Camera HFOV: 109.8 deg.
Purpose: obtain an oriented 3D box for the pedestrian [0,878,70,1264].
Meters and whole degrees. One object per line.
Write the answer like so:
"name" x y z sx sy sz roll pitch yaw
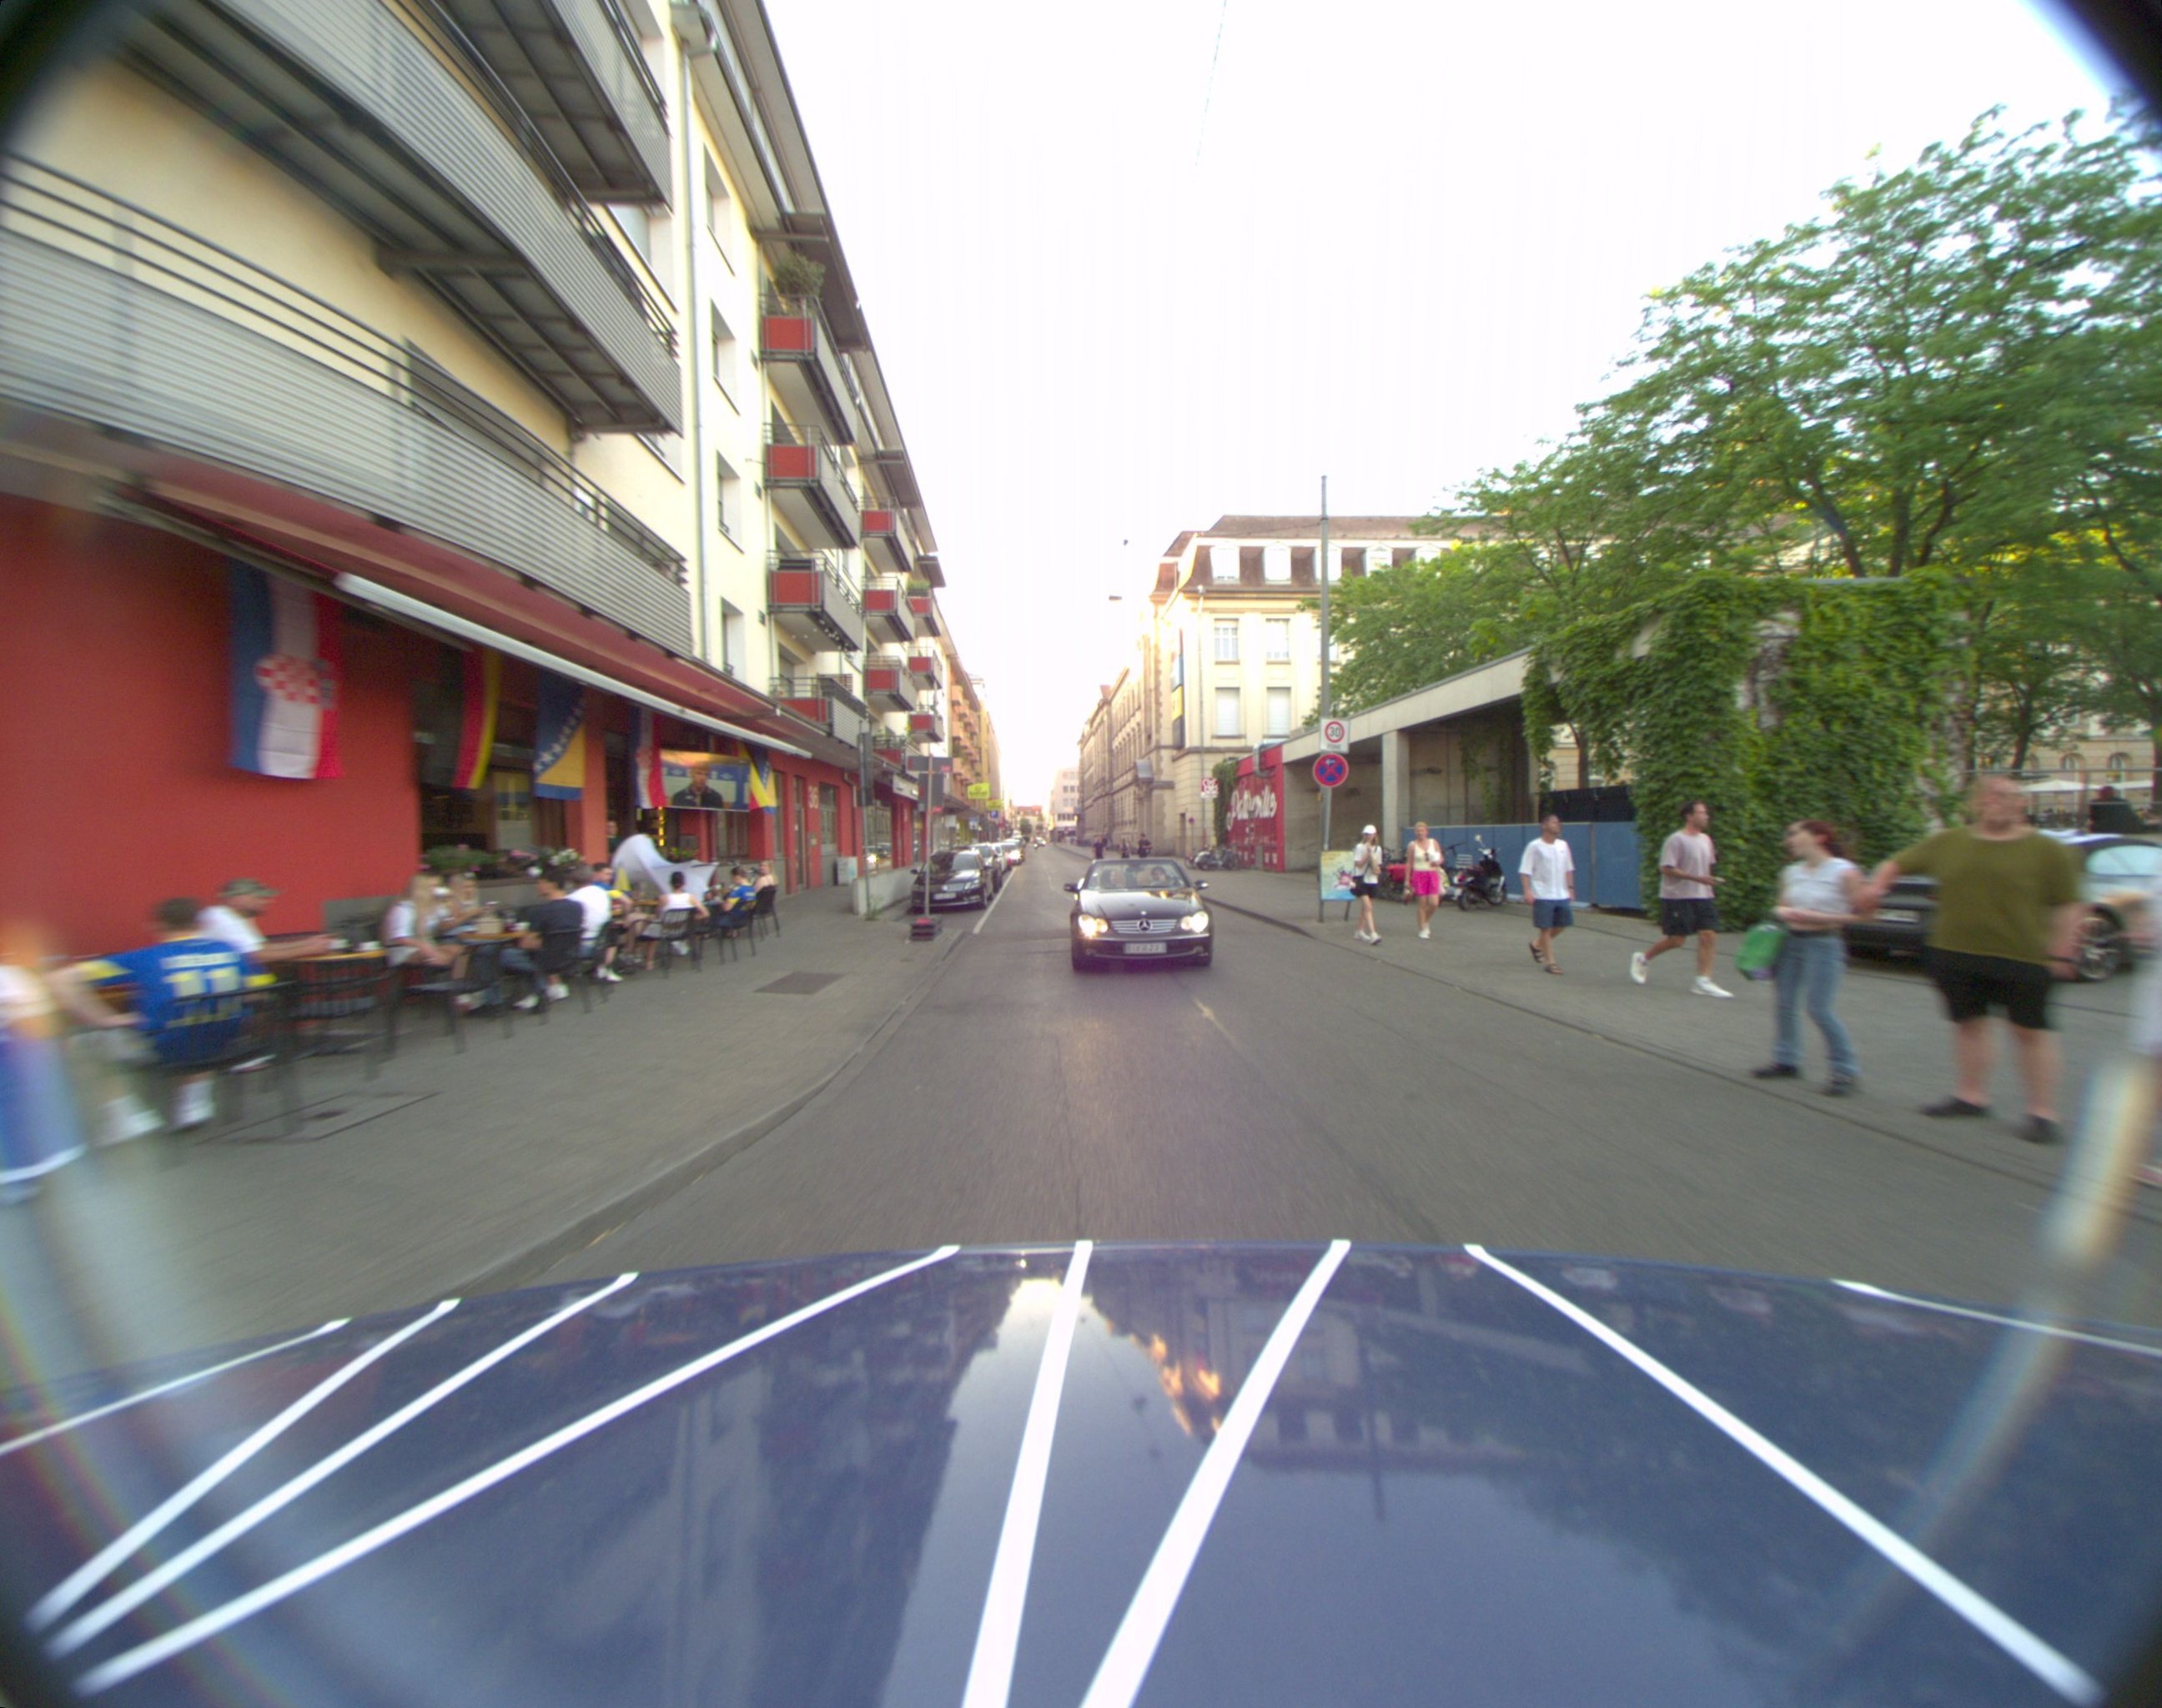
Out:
"pedestrian" -4.688 0.873 2.914 0.713 1.527 0.690 0 2 14

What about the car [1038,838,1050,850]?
"car" -6.642 -1.747 137.023 1.998 2.002 3.999 -2 2 1

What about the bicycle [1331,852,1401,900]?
"bicycle" 6.959 0.528 18.579 1.496 1.082 0.436 -3 2 3

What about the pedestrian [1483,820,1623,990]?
"pedestrian" 5.307 0.543 8.608 0.984 1.784 0.889 -3 2 -1

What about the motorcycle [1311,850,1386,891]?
"motorcycle" 7.241 0.452 20.591 1.824 1.063 0.534 -2 2 25

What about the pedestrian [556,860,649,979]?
"pedestrian" -6.052 0.810 9.642 0.714 1.413 0.602 -3 2 -4

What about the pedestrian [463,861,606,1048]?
"pedestrian" -4.765 0.843 6.679 0.714 1.527 0.759 2 1 -7

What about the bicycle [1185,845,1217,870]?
"bicycle" 5.940 0.158 37.596 1.501 1.134 0.312 -3 2 -12

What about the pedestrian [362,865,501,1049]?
"pedestrian" -5.708 0.871 6.717 0.675 1.527 0.654 1 1 -6

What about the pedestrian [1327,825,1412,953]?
"pedestrian" 4.244 0.488 11.241 0.851 1.784 0.868 -3 2 -1

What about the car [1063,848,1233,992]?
"car" 0.669 0.687 10.435 1.809 1.400 4.614 0 2 -1

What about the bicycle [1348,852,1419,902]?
"bicycle" 7.070 0.532 17.743 1.497 1.082 0.410 -3 2 -7

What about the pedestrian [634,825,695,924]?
"pedestrian" -8.641 0.407 15.796 0.669 2.002 0.814 -2 2 7

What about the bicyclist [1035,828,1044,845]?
"bicyclist" -5.059 -2.106 92.174 1.045 2.002 1.182 -2 2 -1

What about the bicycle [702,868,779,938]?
"bicycle" -6.185 0.854 13.908 0.550 1.081 2.004 -3 1 -3

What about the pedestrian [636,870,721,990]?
"pedestrian" -4.744 0.872 8.996 0.655 1.337 0.749 1 1 -6

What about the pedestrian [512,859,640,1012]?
"pedestrian" -5.416 0.841 8.205 0.853 1.527 0.679 -3 2 -7

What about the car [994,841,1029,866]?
"car" -4.496 -0.060 49.694 1.897 1.469 4.299 -3 1 -1

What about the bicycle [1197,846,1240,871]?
"bicycle" 6.244 0.213 34.606 1.844 1.077 0.354 -2 2 2

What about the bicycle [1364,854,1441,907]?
"bicycle" 7.068 0.575 16.719 1.497 1.063 0.442 -3 2 -7

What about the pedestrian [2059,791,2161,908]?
"pedestrian" 16.356 -0.088 11.991 0.762 1.771 0.797 -2 2 -2

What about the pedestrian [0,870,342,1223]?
"pedestrian" -4.494 0.878 3.814 0.714 1.527 0.852 3 2 -2

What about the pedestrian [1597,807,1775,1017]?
"pedestrian" 5.825 0.523 7.375 0.984 1.873 0.889 -3 2 -1

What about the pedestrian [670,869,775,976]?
"pedestrian" -4.723 0.871 10.059 0.876 1.298 0.854 1 3 16

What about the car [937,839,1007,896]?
"car" -3.607 0.391 25.811 1.884 1.690 4.135 -3 1 -3

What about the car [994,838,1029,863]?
"car" -4.995 -0.274 55.400 1.998 1.607 4.366 -3 1 1

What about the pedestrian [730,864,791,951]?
"pedestrian" -5.155 0.830 12.210 0.854 1.271 0.712 -2 4 -25

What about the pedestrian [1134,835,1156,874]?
"pedestrian" 2.892 0.012 34.451 0.833 1.717 0.920 -2 2 -4

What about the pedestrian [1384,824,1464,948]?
"pedestrian" 5.169 0.456 11.493 0.812 1.784 0.736 -3 2 -1

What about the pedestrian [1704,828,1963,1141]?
"pedestrian" 4.399 0.700 4.522 0.881 1.659 0.715 -2 2 23

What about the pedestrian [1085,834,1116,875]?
"pedestrian" 0.908 0.007 34.892 1.009 1.817 0.944 -4 2 -28

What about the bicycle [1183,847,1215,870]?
"bicycle" 5.904 0.197 37.940 1.501 1.070 0.312 -3 2 -12

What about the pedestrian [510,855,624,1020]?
"pedestrian" -4.996 0.787 7.432 0.650 1.518 0.699 2 1 -8

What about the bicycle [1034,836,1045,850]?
"bicycle" -5.021 -1.344 92.300 1.038 1.514 2.821 -2 2 1

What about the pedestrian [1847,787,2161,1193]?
"pedestrian" 4.759 0.627 3.931 0.714 1.866 0.852 -3 2 2

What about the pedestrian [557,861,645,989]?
"pedestrian" -5.572 0.801 8.850 0.667 1.426 0.560 0 2 -6

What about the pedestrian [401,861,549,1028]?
"pedestrian" -5.864 0.842 7.405 0.769 1.495 0.783 -2 2 -6

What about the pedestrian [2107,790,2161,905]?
"pedestrian" 17.363 -0.110 12.029 0.703 1.809 1.122 -2 2 -5

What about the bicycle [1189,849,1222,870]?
"bicycle" 6.063 0.263 36.975 1.501 0.950 0.312 -3 2 -12

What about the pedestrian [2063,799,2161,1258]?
"pedestrian" 4.653 0.668 2.992 0.716 1.793 0.880 -4 3 -44

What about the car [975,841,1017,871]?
"car" -4.629 0.058 42.009 1.867 1.469 4.392 -3 1 -1

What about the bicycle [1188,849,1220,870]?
"bicycle" 6.022 0.260 37.284 1.501 0.973 0.312 -3 2 -12

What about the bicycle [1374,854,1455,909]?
"bicycle" 7.125 0.577 16.257 1.497 1.082 0.547 -3 2 -7

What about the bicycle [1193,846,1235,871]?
"bicycle" 6.146 0.220 35.054 1.844 1.077 0.354 -3 2 2

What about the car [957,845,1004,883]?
"car" -4.191 0.357 32.212 1.753 1.395 3.964 -3 1 -5

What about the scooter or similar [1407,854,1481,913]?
"scooter or similar" 7.340 0.581 15.341 1.499 1.082 0.410 -3 2 -21

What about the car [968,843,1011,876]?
"car" -4.471 0.221 37.586 1.768 1.469 3.945 -3 1 -3

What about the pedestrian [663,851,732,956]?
"pedestrian" -5.949 0.738 11.830 0.854 1.527 0.713 -3 2 -25

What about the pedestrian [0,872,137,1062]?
"pedestrian" -10.145 1.087 7.559 0.612 1.767 0.617 -2 2 -11

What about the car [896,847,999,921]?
"car" -3.295 0.670 19.704 1.879 1.543 4.629 -3 1 -1

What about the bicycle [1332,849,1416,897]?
"bicycle" 7.357 0.470 19.117 1.872 1.081 0.550 -3 2 -2

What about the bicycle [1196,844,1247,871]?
"bicycle" 6.309 0.156 34.241 2.180 1.149 0.445 -3 2 2

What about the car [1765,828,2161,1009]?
"car" 10.231 0.523 8.057 4.450 1.423 2.104 -3 2 -10

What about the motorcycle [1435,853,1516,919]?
"motorcycle" 7.571 0.584 14.554 1.831 1.120 0.535 -4 2 -34

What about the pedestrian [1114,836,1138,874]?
"pedestrian" 2.077 0.034 35.194 0.921 1.717 0.702 -2 2 -8

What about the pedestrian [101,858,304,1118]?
"pedestrian" -5.756 0.816 4.995 0.751 1.527 0.649 -2 2 29

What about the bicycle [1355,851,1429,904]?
"bicycle" 7.008 0.521 17.113 1.497 1.105 0.410 -3 2 -7
